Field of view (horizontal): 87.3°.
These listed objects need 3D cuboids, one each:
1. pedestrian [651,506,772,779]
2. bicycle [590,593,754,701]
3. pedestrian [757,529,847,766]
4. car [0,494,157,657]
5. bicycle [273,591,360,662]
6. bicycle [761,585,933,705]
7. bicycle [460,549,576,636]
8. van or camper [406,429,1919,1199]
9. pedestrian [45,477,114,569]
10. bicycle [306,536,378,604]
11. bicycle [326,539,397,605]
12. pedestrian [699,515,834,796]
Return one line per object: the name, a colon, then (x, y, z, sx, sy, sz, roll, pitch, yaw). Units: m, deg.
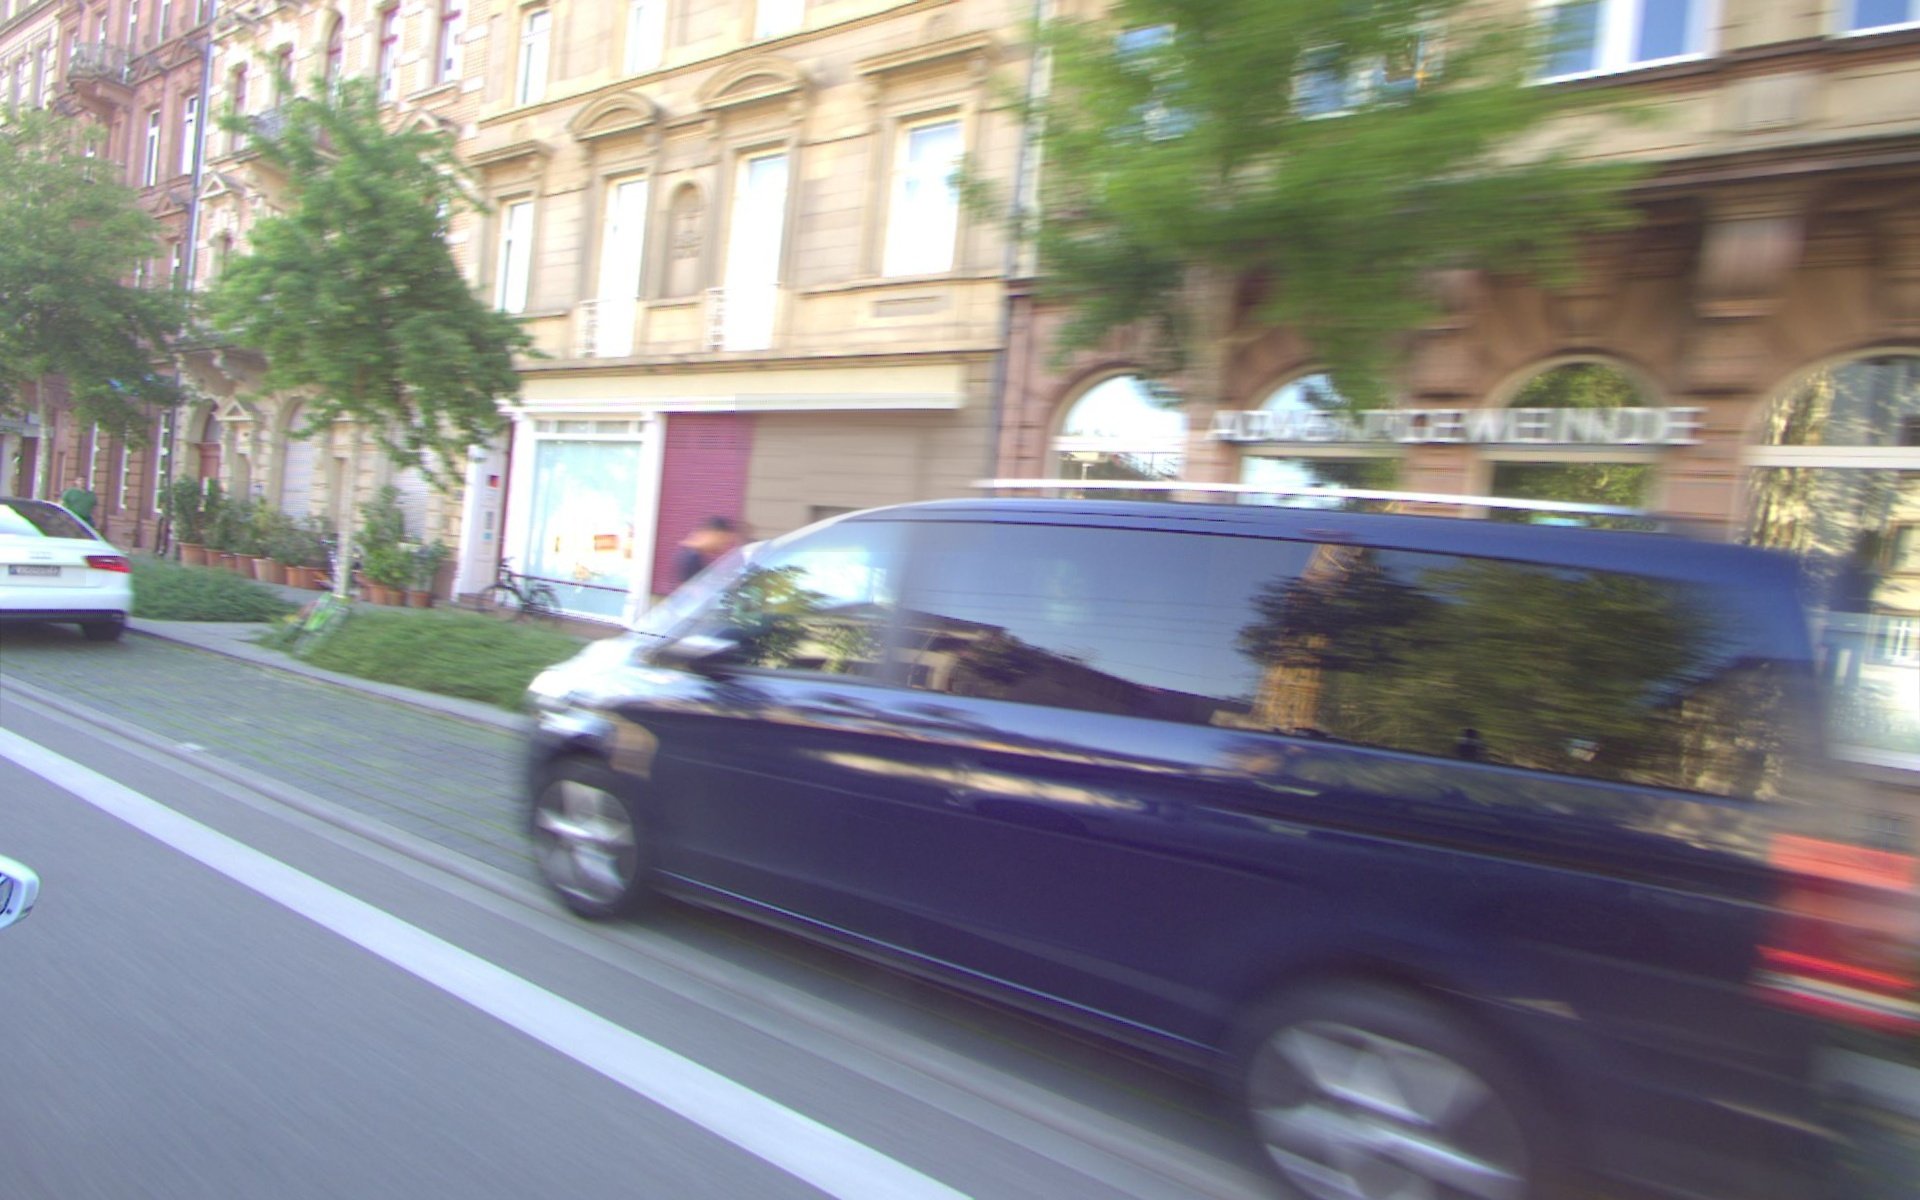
pedestrian: (-1.722, 0.288, 6.952, 0.468, 1.800, 0.500, 6, 1, -39)
bicycle: (-3.054, 0.484, 10.622, 1.655, 0.927, 0.655, 6, 0, 32)
pedestrian: (-1.245, 0.362, 7.882, 0.475, 1.749, 0.575, 6, 0, -13)
car: (-10.974, -0.447, 10.909, 5.165, 1.473, 1.849, 7, 2, 31)
bicycle: (-7.006, 0.281, 10.945, 0.985, 0.655, 0.355, 6, 0, 32)
bicycle: (-1.434, 0.544, 12.603, 2.038, 1.235, 0.705, 6, 0, 32)
bicycle: (-7.204, -0.126, 16.389, 1.742, 1.210, 0.720, 7, 1, 29)
van or camper: (0.247, 0.496, 4.065, 5.398, 1.998, 1.961, 7, 2, 33)
pedestrian: (-18.341, -1.595, 20.956, 1.054, 1.778, 0.747, 7, 2, 33)
bicycle: (-11.557, -0.571, 18.794, 1.649, 1.093, 0.385, 7, 0, 33)
bicycle: (-11.400, -0.536, 19.151, 1.649, 1.093, 0.385, 7, 0, 33)
pedestrian: (-1.274, 0.357, 6.649, 0.482, 1.749, 0.504, 7, 1, 31)
